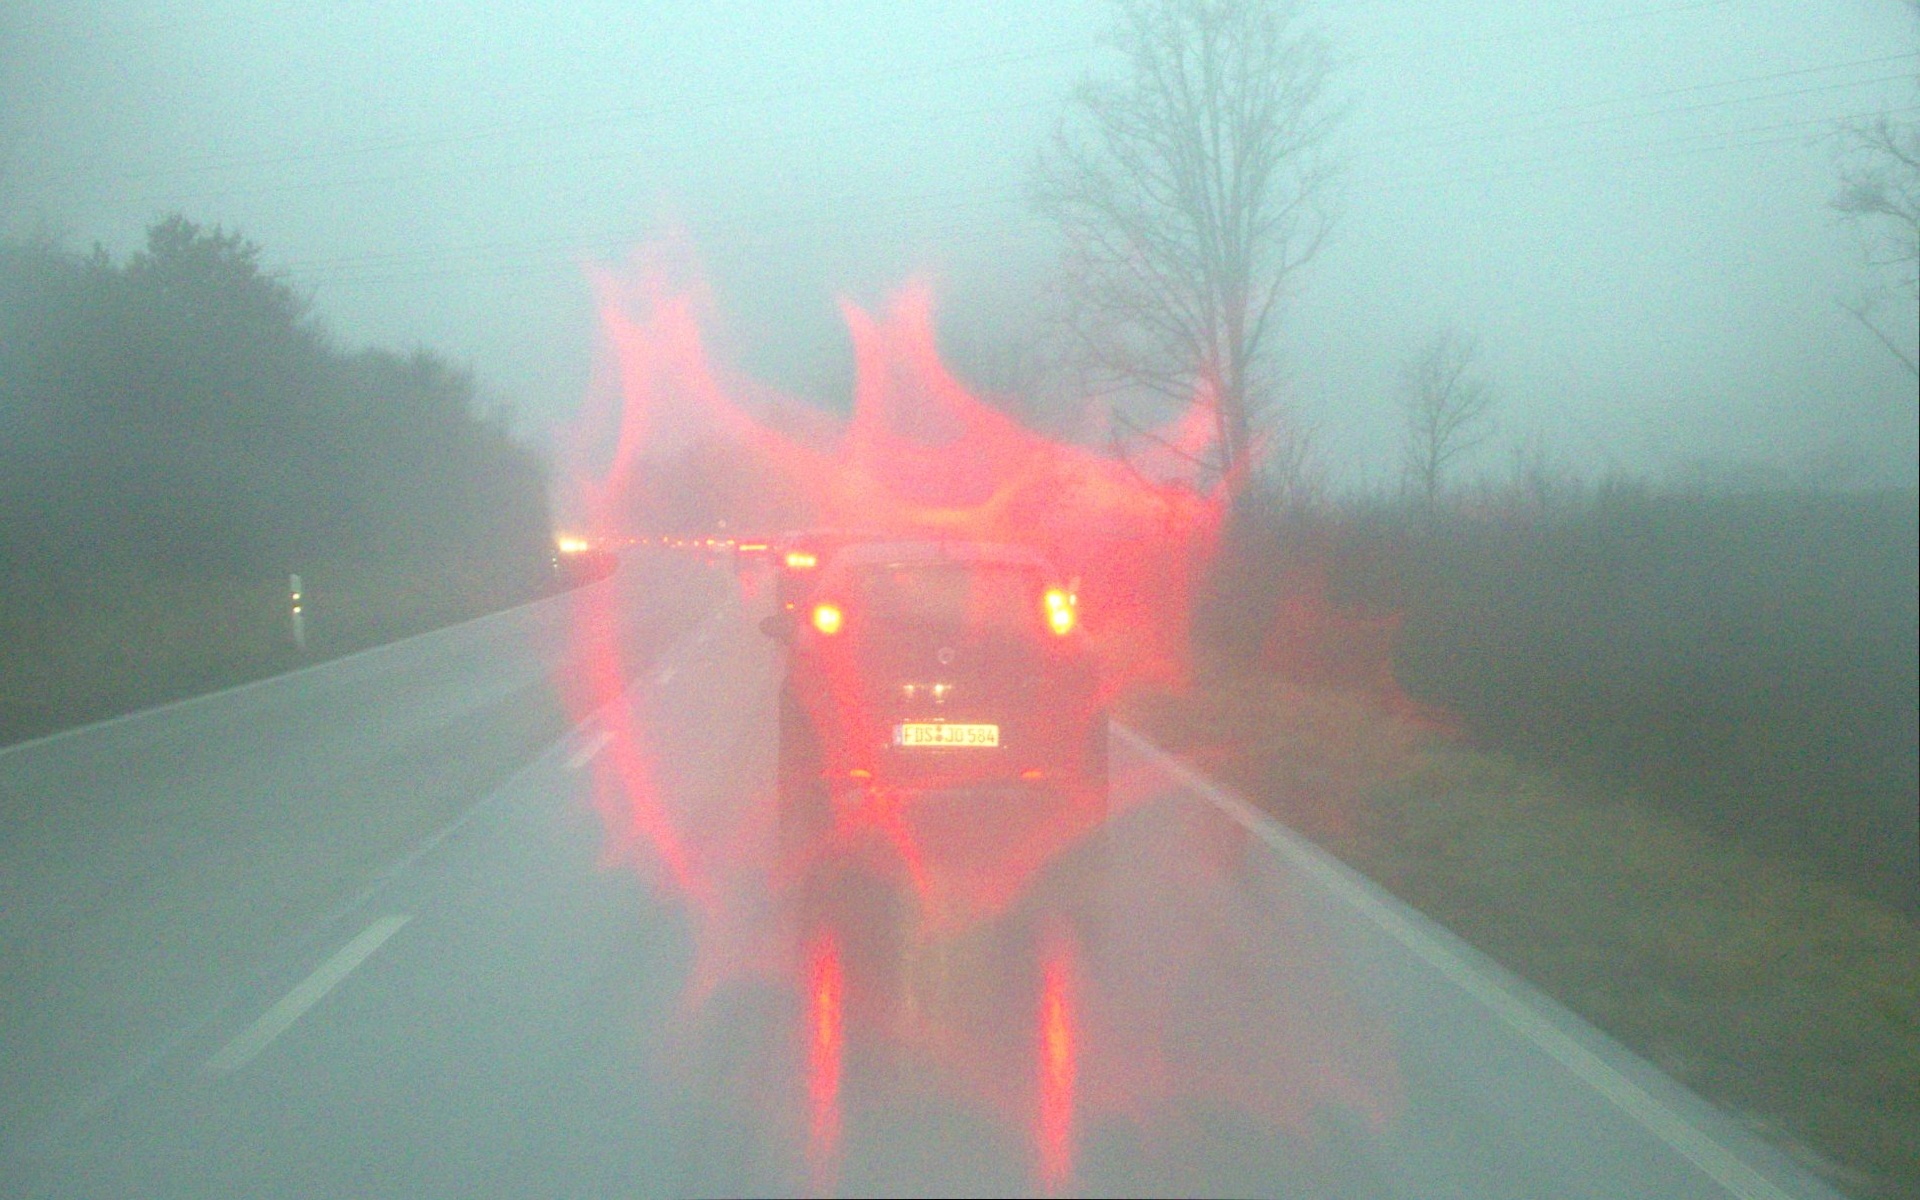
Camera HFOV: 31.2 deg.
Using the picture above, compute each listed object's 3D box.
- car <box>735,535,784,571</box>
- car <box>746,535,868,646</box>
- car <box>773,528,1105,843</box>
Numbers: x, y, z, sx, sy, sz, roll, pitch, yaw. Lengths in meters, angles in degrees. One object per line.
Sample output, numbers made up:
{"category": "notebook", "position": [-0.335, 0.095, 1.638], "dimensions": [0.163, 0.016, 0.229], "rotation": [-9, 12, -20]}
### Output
{"category": "car", "position": [-8.019, -1.904, 137.525], "dimensions": [1.547, 1.392, 3.869], "rotation": [1, 1, 3]}
{"category": "car", "position": [-2.006, -0.155, 45.823], "dimensions": [1.547, 1.392, 3.870], "rotation": [1, 1, -1]}
{"category": "car", "position": [-0.060, 0.380, 18.718], "dimensions": [1.602, 1.517, 3.869], "rotation": [1, 1, 1]}
